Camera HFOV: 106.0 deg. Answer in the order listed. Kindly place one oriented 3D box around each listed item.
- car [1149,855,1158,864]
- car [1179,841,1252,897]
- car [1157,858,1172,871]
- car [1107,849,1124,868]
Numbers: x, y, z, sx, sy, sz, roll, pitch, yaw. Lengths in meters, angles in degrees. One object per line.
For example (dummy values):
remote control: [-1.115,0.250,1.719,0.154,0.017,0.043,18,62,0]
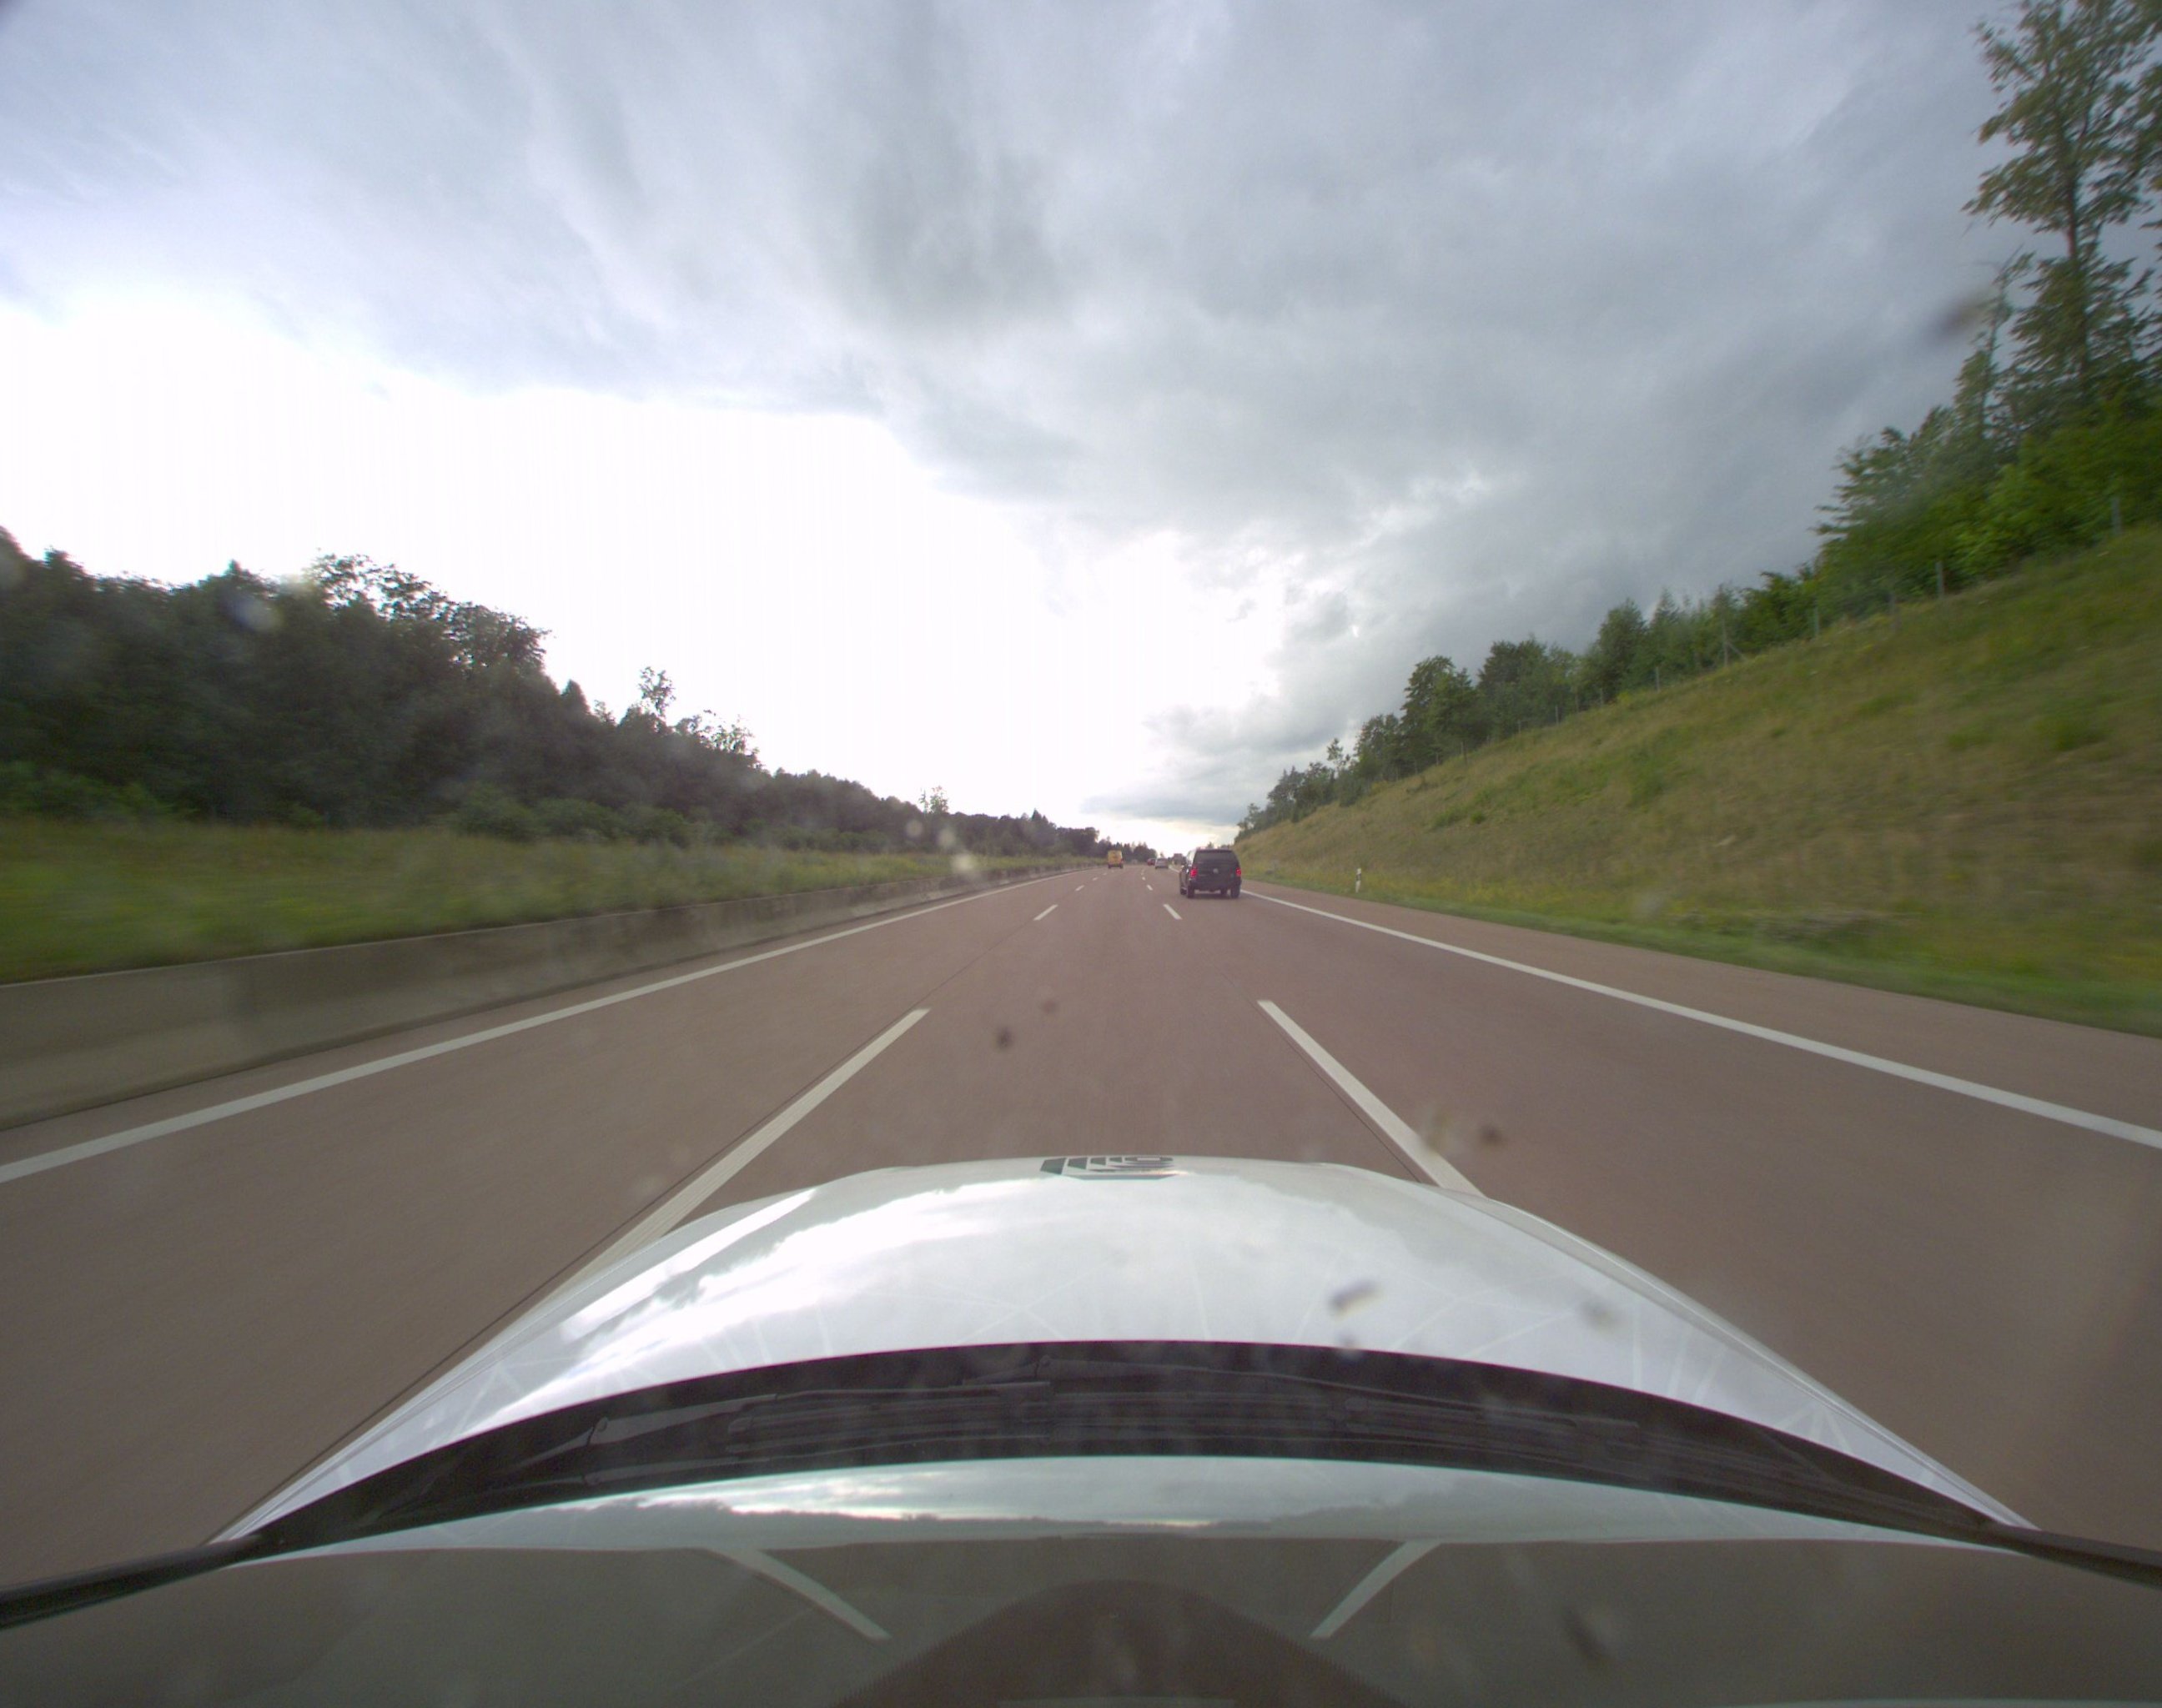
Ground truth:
car: [15.932,1.243,179.274,1.878,1.764,4.790,-2,-1,6]
car: [4.963,0.570,30.837,2.036,1.897,5.580,-1,-1,3]
car: [11.337,1.400,110.119,1.967,1.648,4.627,0,-1,6]
car: [5.301,0.671,123.671,2.448,2.706,5.618,-1,-1,3]
